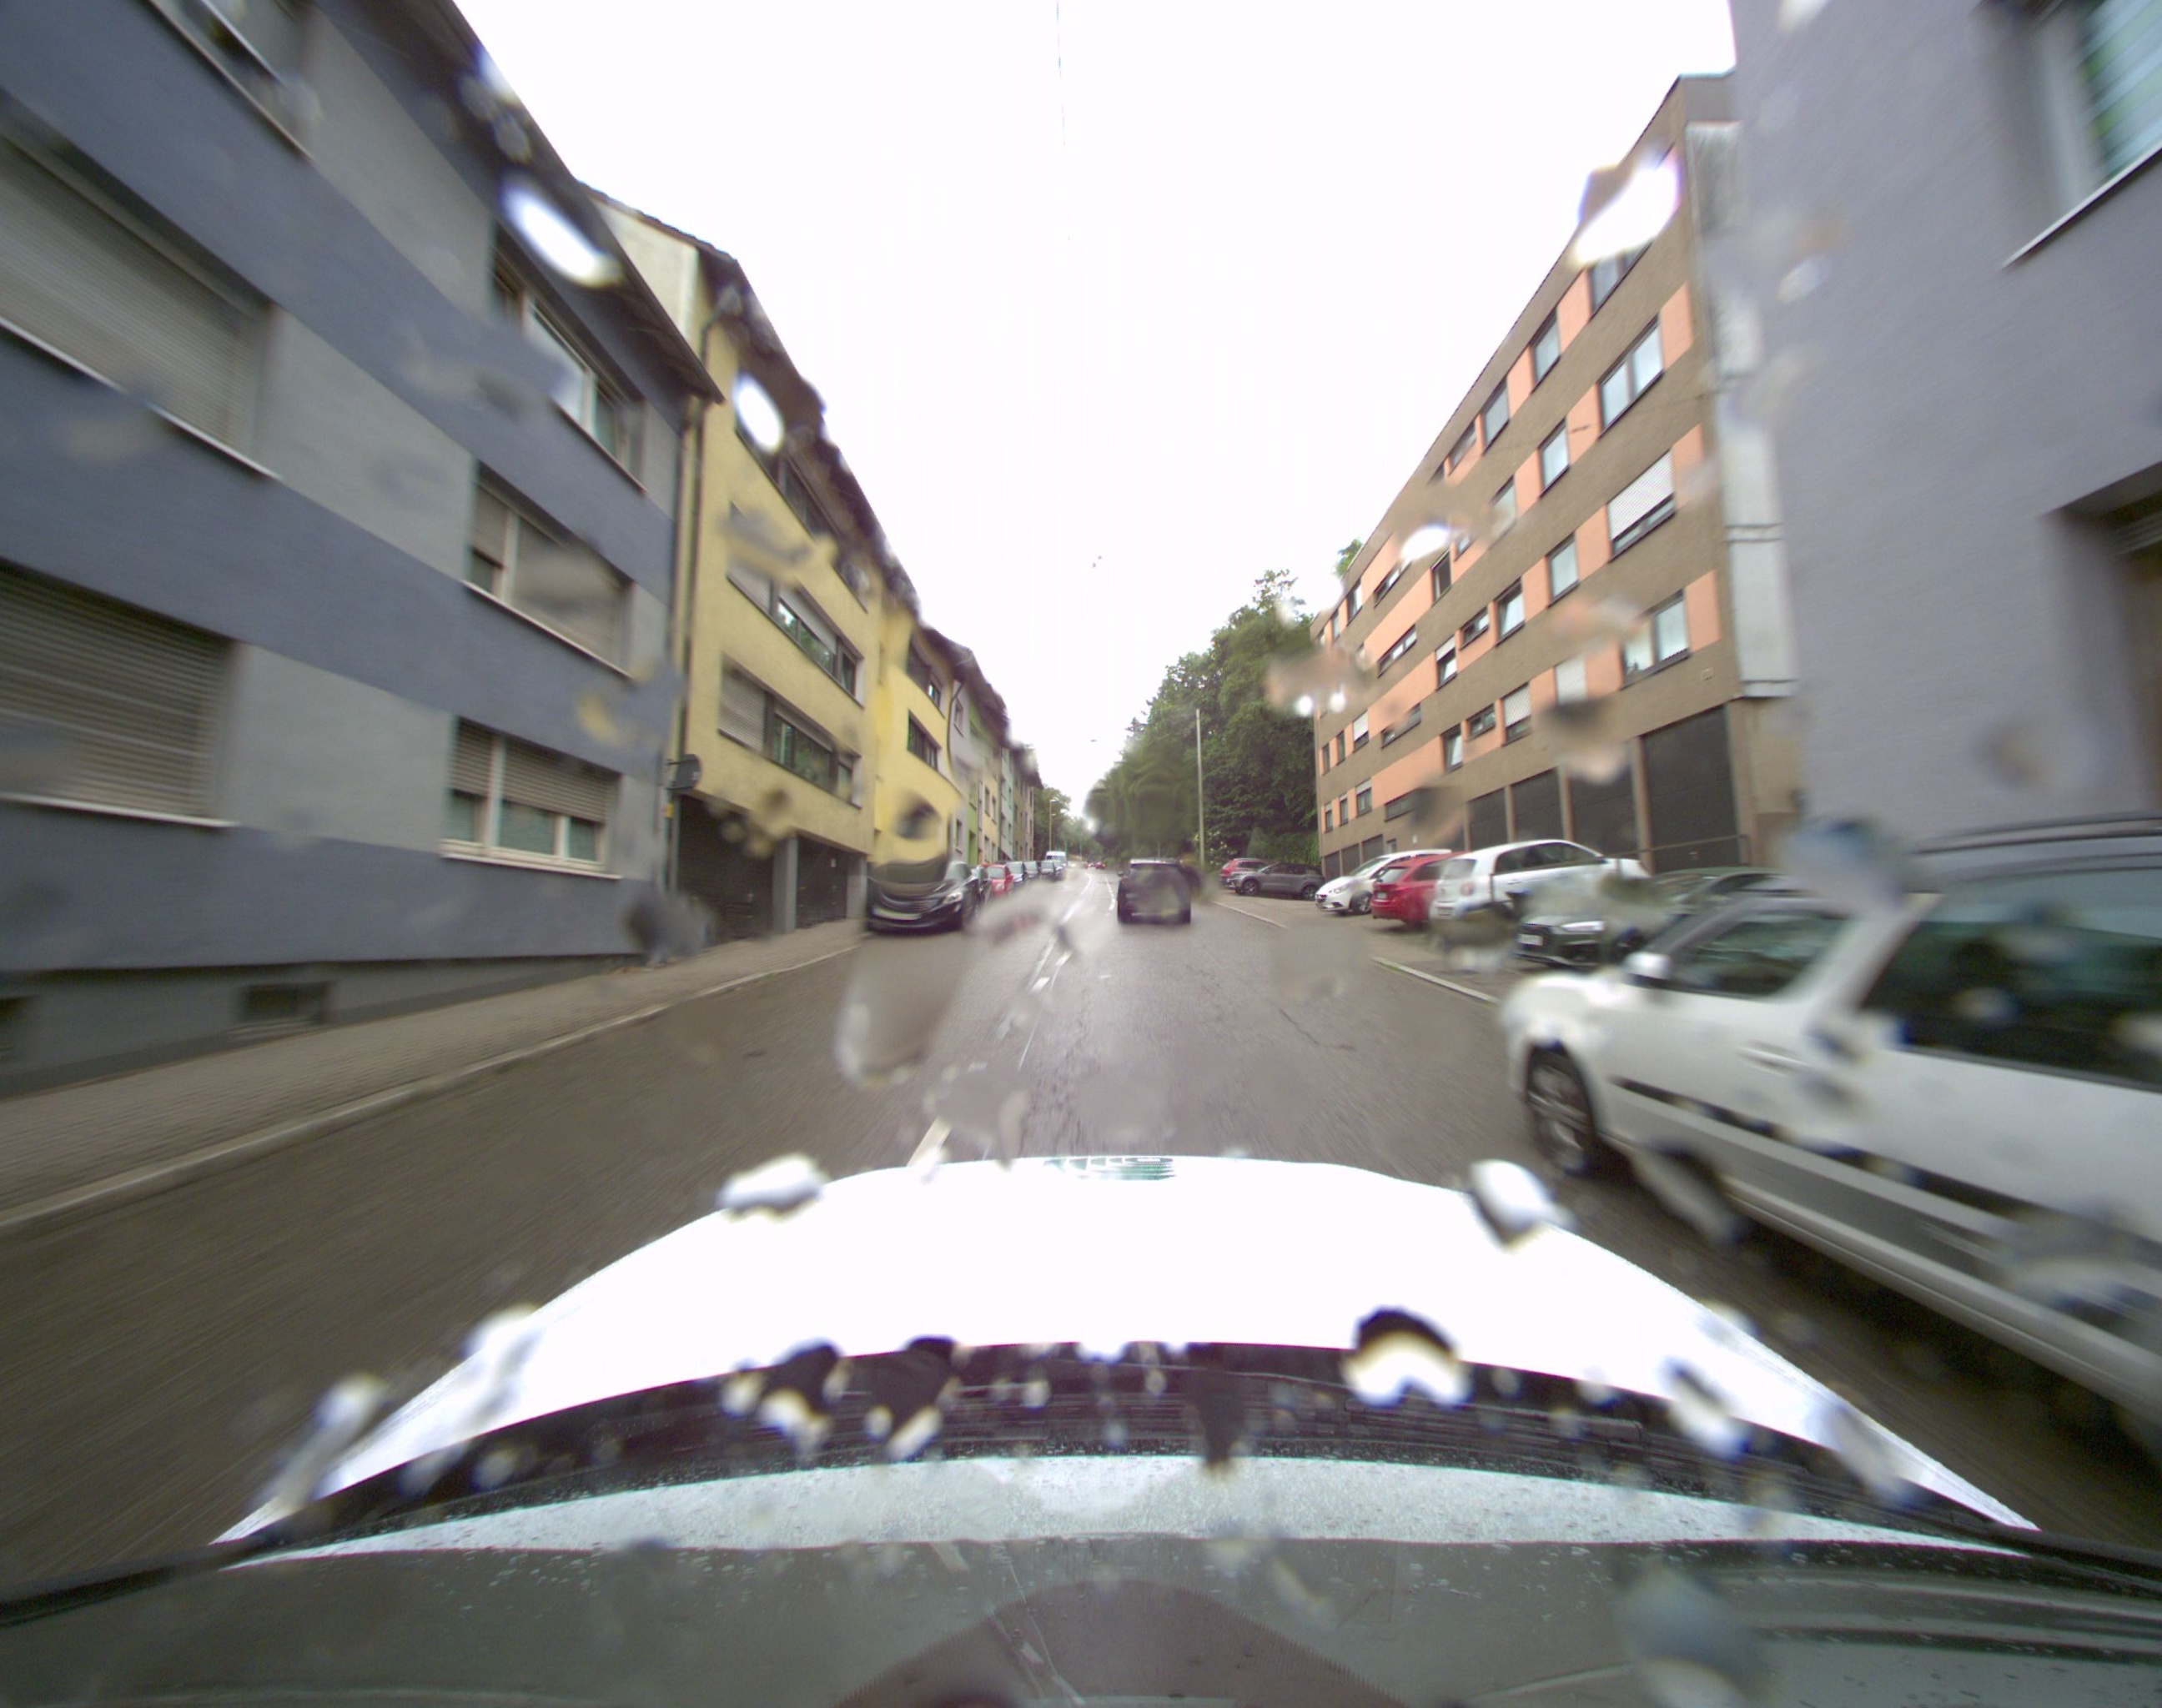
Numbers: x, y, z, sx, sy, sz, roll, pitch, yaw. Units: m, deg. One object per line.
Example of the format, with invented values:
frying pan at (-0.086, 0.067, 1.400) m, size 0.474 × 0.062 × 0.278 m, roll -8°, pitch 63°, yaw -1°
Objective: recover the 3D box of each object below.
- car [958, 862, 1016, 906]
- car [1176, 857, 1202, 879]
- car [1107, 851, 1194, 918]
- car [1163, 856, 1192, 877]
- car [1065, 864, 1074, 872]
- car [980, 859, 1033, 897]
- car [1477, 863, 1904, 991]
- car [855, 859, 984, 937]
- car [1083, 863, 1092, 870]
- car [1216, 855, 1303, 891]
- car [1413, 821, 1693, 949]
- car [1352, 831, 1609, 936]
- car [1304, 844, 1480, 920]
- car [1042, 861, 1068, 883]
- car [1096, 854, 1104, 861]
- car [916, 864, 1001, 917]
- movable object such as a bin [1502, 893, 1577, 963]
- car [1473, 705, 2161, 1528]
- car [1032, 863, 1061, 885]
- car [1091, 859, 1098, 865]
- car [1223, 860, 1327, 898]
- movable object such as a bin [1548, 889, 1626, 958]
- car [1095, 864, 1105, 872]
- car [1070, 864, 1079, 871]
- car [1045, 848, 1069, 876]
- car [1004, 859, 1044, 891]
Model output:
car at (-3.433, 1.060, 30.258) m, size 1.723 × 1.472 × 3.490 m, roll -1°, pitch 0°, yaw 0°
car at (7.843, 1.027, 59.560) m, size 1.626 × 1.530 × 4.004 m, roll 1°, pitch 0°, yaw 4°
car at (1.699, 0.720, 21.183) m, size 1.986 × 1.559 × 4.001 m, roll 1°, pitch 0°, yaw 1°
car at (7.805, 1.002, 66.386) m, size 1.805 × 1.530 × 4.417 m, roll -3°, pitch -1°, yaw 1°
car at (-2.446, 3.034, 175.390) m, size 1.987 × 1.559 × 3.999 m, roll 1°, pitch 0°, yaw -1°
car at (-3.307, 1.035, 36.950) m, size 1.987 × 1.585 × 4.471 m, roll -1°, pitch 0°, yaw 0°
car at (7.827, 0.892, 10.779) m, size 4.255 × 1.466 × 1.893 m, roll -1°, pitch 0°, yaw -1°
car at (-3.745, 0.967, 19.776) m, size 1.985 × 1.650 × 4.445 m, roll -1°, pitch 0°, yaw 3°
car at (1.412, 2.634, 176.650) m, size 2.068 × 1.559 × 3.999 m, roll 0°, pitch 0°, yaw 0°
car at (9.549, 0.999, 43.758) m, size 4.188 × 1.735 × 1.758 m, roll 2°, pitch -1°, yaw -3°
car at (8.214, 0.522, 14.416) m, size 3.815 × 1.702 × 1.728 m, roll -7°, pitch 0°, yaw -1°
car at (8.209, 0.588, 17.020) m, size 4.328 × 1.529 × 1.876 m, roll -7°, pitch 0°, yaw -1°
car at (8.227, 0.726, 21.737) m, size 3.953 × 1.530 × 1.690 m, roll -6°, pitch -1°, yaw -3°
car at (-2.164, 1.475, 68.155) m, size 1.984 × 1.755 × 4.479 m, roll -1°, pitch 0°, yaw 0°
car at (5.079, 0.947, 219.667) m, size 1.985 × 1.560 × 4.003 m, roll -2°, pitch -2°, yaw 3°
car at (-3.754, 1.091, 25.749) m, size 1.987 × 1.472 × 4.347 m, roll -1°, pitch 0°, yaw 0°
movable object such as a bin at (7.045, 1.121, 12.552) m, size 0.720 × 1.021 × 0.771 m, roll 1°, pitch -3°, yaw 0°
car at (3.142, 0.569, 2.817) m, size 1.635 × 1.762 × 3.999 m, roll 1°, pitch 0°, yaw 0°
car at (-2.601, 1.474, 61.870) m, size 1.984 × 1.585 × 4.304 m, roll -1°, pitch 0°, yaw 0°
car at (4.146, 2.521, 250.565) m, size 1.985 × 1.560 × 4.003 m, roll -2°, pitch -2°, yaw 3°
car at (8.594, 1.085, 36.300) m, size 4.186 × 1.496 × 1.759 m, roll 2°, pitch -1°, yaw -2°
movable object such as a bin at (7.810, 1.056, 12.607) m, size 0.720 × 1.021 × 0.771 m, roll 1°, pitch -3°, yaw 0°
car at (4.155, 3.018, 177.089) m, size 2.069 × 1.559 × 3.997 m, roll 0°, pitch 0°, yaw -2°
car at (-1.617, 3.287, 198.408) m, size 2.068 × 1.559 × 3.999 m, roll 0°, pitch 0°, yaw 0°
car at (-2.198, 0.694, 74.937) m, size 1.984 × 2.475 × 5.783 m, roll -1°, pitch 0°, yaw 0°
car at (-3.053, 1.090, 44.238) m, size 1.847 × 1.585 × 4.304 m, roll -1°, pitch 0°, yaw 0°
